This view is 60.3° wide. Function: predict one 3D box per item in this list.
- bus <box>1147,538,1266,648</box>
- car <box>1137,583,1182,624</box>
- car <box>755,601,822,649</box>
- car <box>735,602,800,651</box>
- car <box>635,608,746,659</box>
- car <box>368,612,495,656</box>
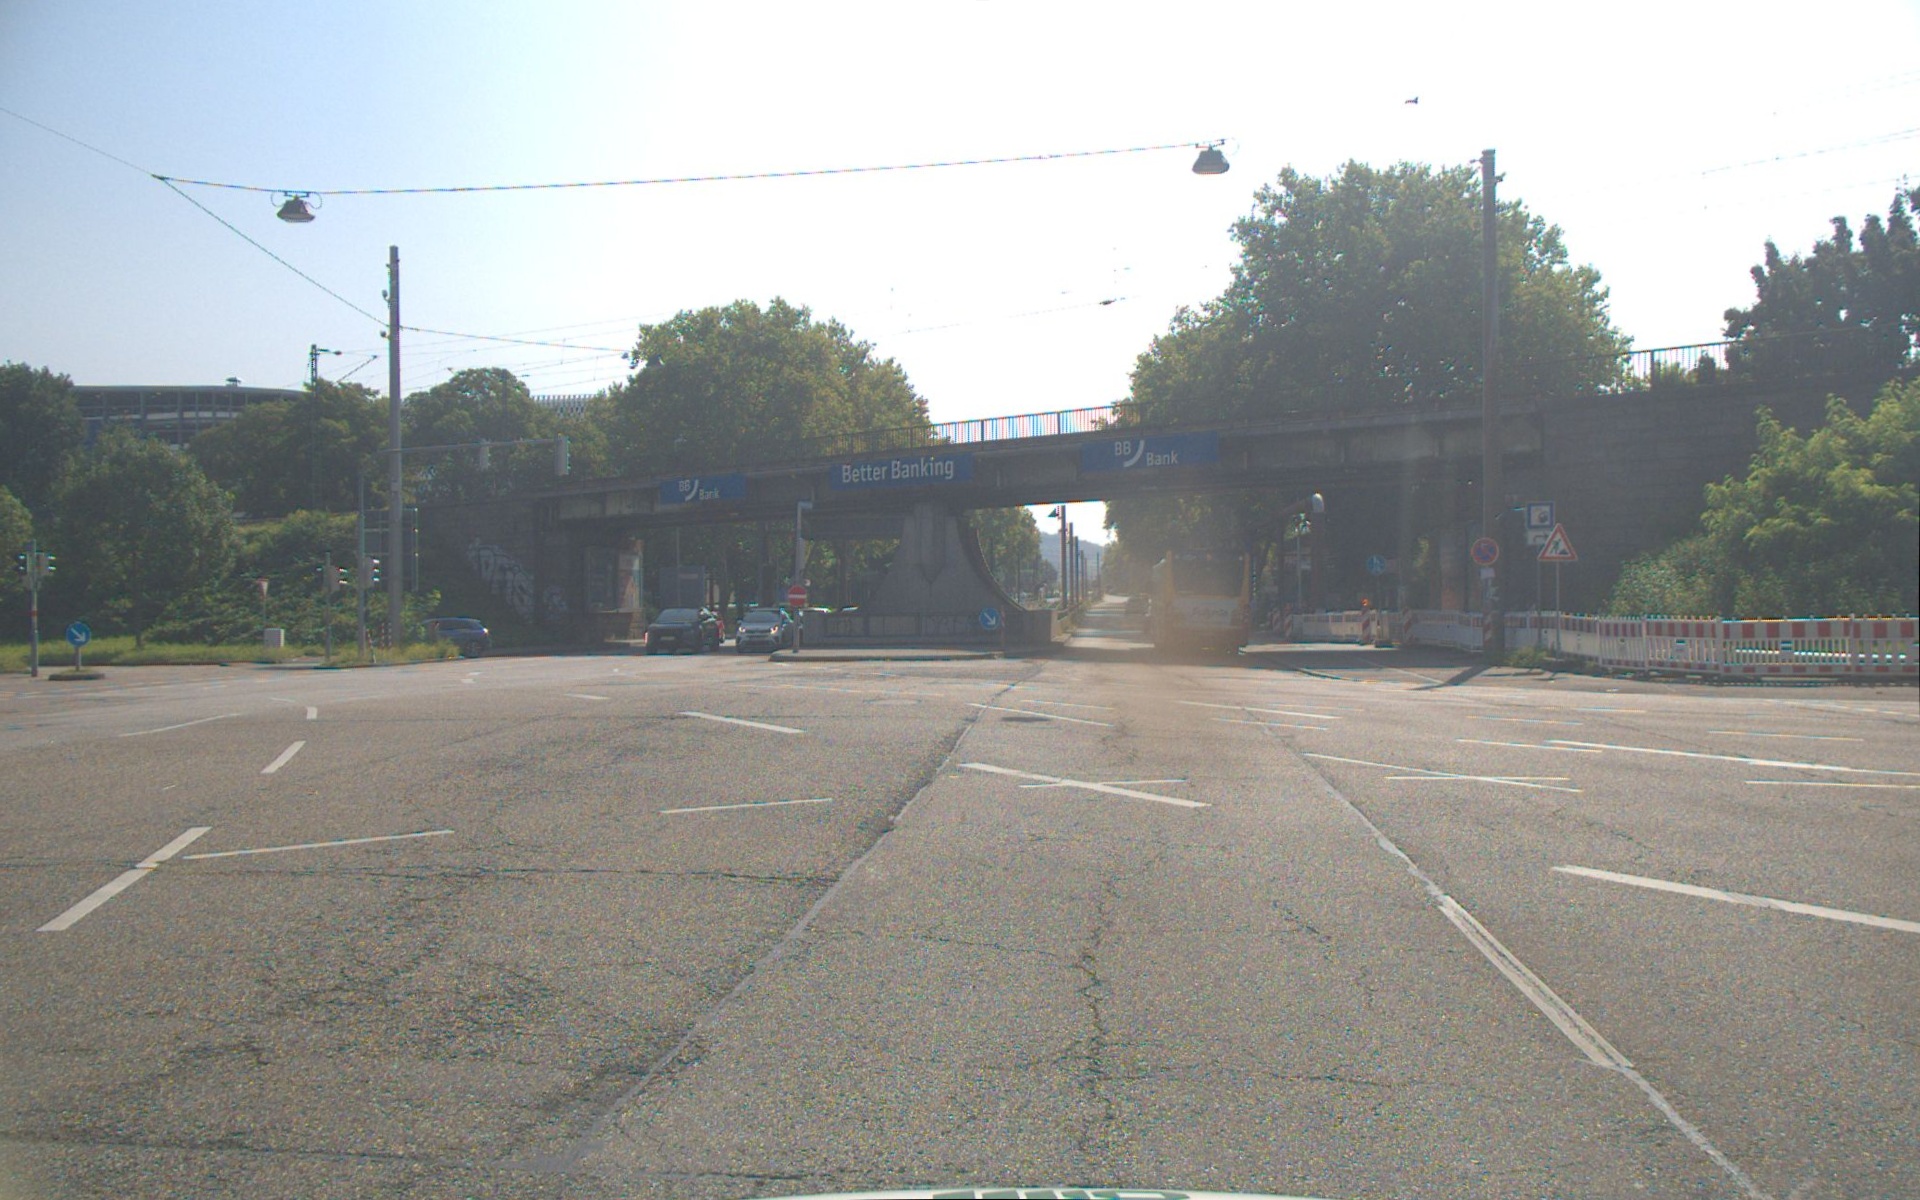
[{"bbox_3d":[7.849,-0.178,54.180,3.068,3.168,12.297,-1,0,5],"label":"bus"},{"bbox_3d":[10.366,0.171,86.232,1.952,2.049,4.001,2,0,2],"label":"car"},{"bbox_3d":[-6.335,0.895,61.561,1.952,1.600,4.349,0,2,1],"label":"car"},{"bbox_3d":[-6.592,0.888,56.884,1.685,1.565,3.696,-2,0,1],"label":"car"},{"bbox_3d":[-9.407,1.162,58.026,1.862,1.645,4.475,-2,-1,20],"label":"car"},{"bbox_3d":[-18.782,1.225,58.846,3.954,1.453,1.764,2,0,-36],"label":"car"}]
